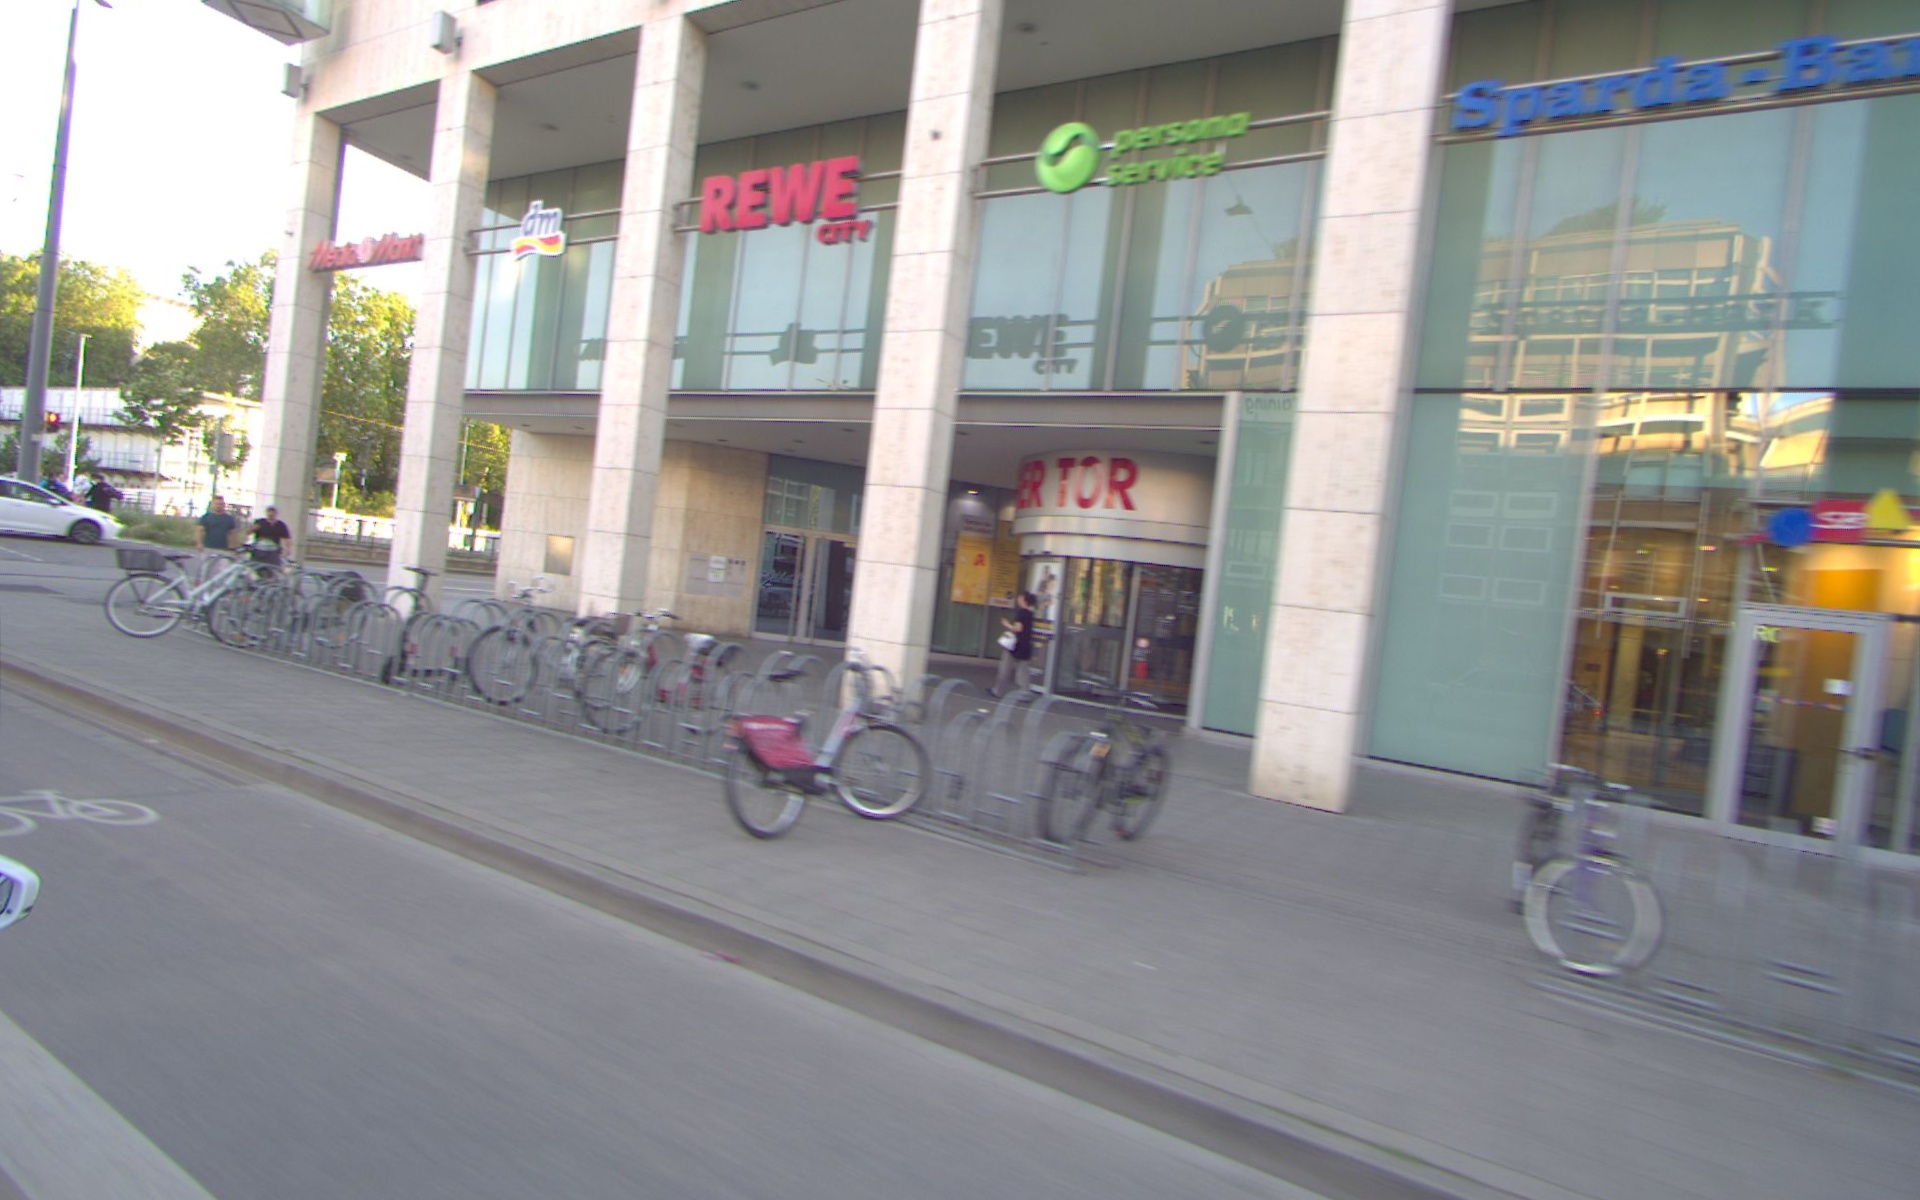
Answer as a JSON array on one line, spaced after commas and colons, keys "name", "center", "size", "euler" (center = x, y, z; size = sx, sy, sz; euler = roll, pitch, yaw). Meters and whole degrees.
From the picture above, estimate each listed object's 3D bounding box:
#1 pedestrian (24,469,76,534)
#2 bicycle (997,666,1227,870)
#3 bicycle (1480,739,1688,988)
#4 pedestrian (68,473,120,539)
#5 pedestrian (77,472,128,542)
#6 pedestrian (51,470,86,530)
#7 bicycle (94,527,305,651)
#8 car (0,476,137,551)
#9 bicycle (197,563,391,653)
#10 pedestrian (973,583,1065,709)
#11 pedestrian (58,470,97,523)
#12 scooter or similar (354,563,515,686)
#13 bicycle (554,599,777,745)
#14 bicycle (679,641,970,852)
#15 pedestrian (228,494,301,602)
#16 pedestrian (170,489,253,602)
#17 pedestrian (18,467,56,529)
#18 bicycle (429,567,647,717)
[{"name": "pedestrian", "center": [-26.884, -2.903, 29.734], "size": [0.677, 1.752, 0.893], "euler": [8, 1, 34]}, {"name": "bicycle", "center": [1.078, 1.092, 6.729], "size": [0.591, 1.112, 1.817], "euler": [8, -2, 38]}, {"name": "bicycle", "center": [3.641, 1.467, 6.023], "size": [0.589, 1.036, 1.708], "euler": [7, 0, 20]}, {"name": "pedestrian", "center": [-26.209, -2.836, 30.450], "size": [0.676, 1.863, 0.894], "euler": [8, 1, 30]}, {"name": "pedestrian", "center": [-24.551, -2.663, 28.806], "size": [0.678, 1.854, 0.892], "euler": [8, 2, 39]}, {"name": "pedestrian", "center": [-27.816, -3.105, 31.398], "size": [0.683, 1.752, 0.885], "euler": [6, 2, -41]}, {"name": "bicycle", "center": [-8.746, -0.097, 11.628], "size": [1.812, 1.228, 0.563], "euler": [6, 1, -44]}, {"name": "car", "center": [-23.911, -2.322, 25.061], "size": [2.092, 1.514, 4.803], "euler": [7, 0, 30]}, {"name": "bicycle", "center": [-8.001, 0.127, 12.182], "size": [0.507, 0.948, 1.870], "euler": [7, 0, 29]}, {"name": "pedestrian", "center": [0.918, 0.695, 15.642], "size": [0.974, 1.800, 0.861], "euler": [7, 3, 30]}, {"name": "pedestrian", "center": [-31.467, -3.696, 35.875], "size": [0.824, 1.752, 0.687], "euler": [7, 1, 28]}, {"name": "scooter or similar", "center": [-5.583, 0.280, 10.747], "size": [0.662, 1.174, 1.278], "euler": [7, 0, 29]}, {"name": "bicycle", "center": [-2.573, 0.677, 9.026], "size": [0.561, 1.126, 1.874], "euler": [7, -1, 34]}, {"name": "bicycle", "center": [-0.760, 0.850, 6.277], "size": [0.561, 1.061, 1.898], "euler": [8, 1, 35]}, {"name": "pedestrian", "center": [-12.222, -0.907, 17.688], "size": [0.728, 1.801, 0.756], "euler": [8, 4, 31]}, {"name": "pedestrian", "center": [-12.638, -0.909, 16.994], "size": [0.728, 1.801, 0.860], "euler": [8, 4, 31]}, {"name": "pedestrian", "center": [-27.930, -3.079, 30.451], "size": [0.884, 1.752, 0.684], "euler": [8, 2, 44]}, {"name": "bicycle", "center": [-4.075, 0.410, 9.884], "size": [0.662, 1.276, 1.869], "euler": [7, 1, 29]}]
